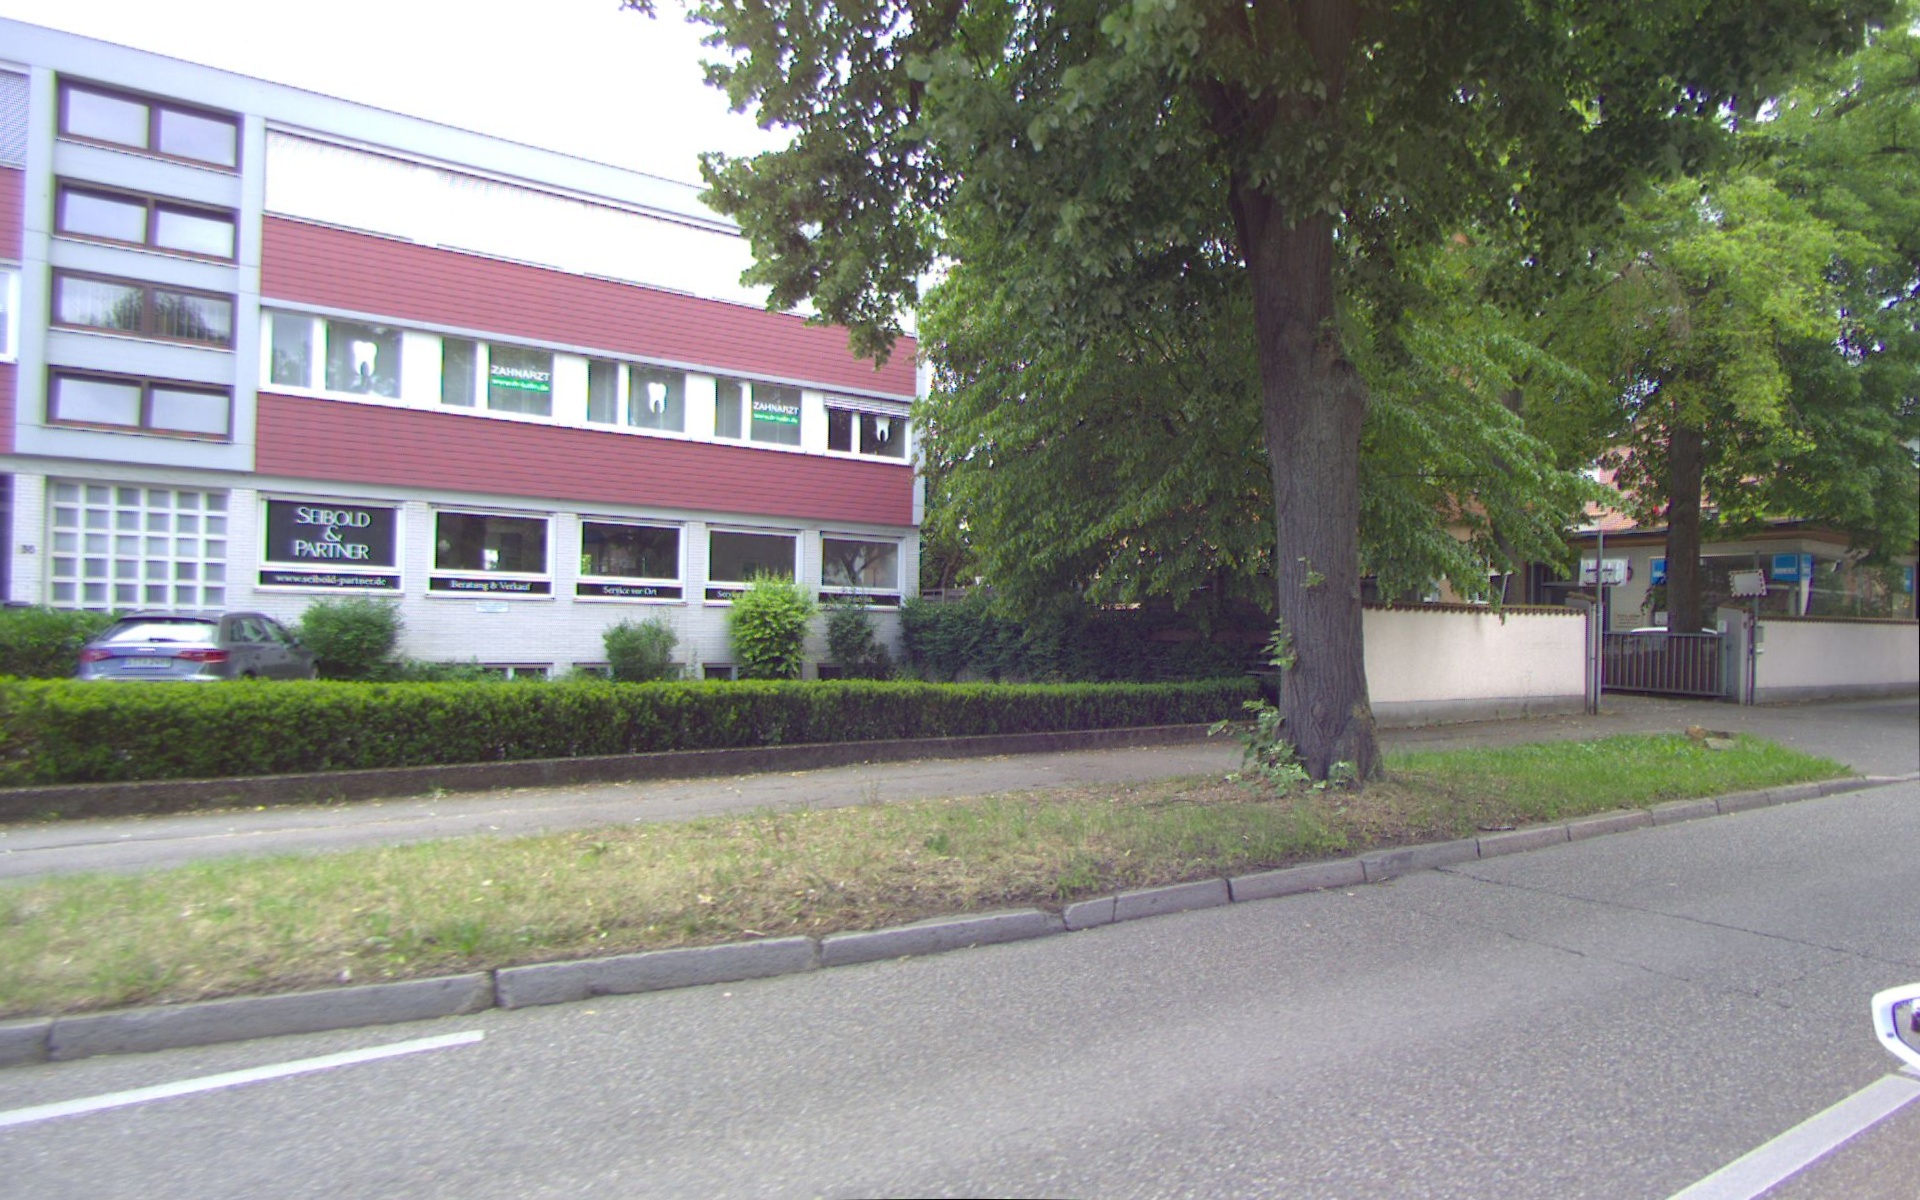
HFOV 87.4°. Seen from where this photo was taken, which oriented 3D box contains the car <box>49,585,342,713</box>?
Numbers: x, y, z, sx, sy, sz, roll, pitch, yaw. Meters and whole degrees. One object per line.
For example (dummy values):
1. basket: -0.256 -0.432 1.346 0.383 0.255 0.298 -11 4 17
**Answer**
1. car: -10.381 0.600 14.068 1.782 1.499 4.138 2 0 -15
